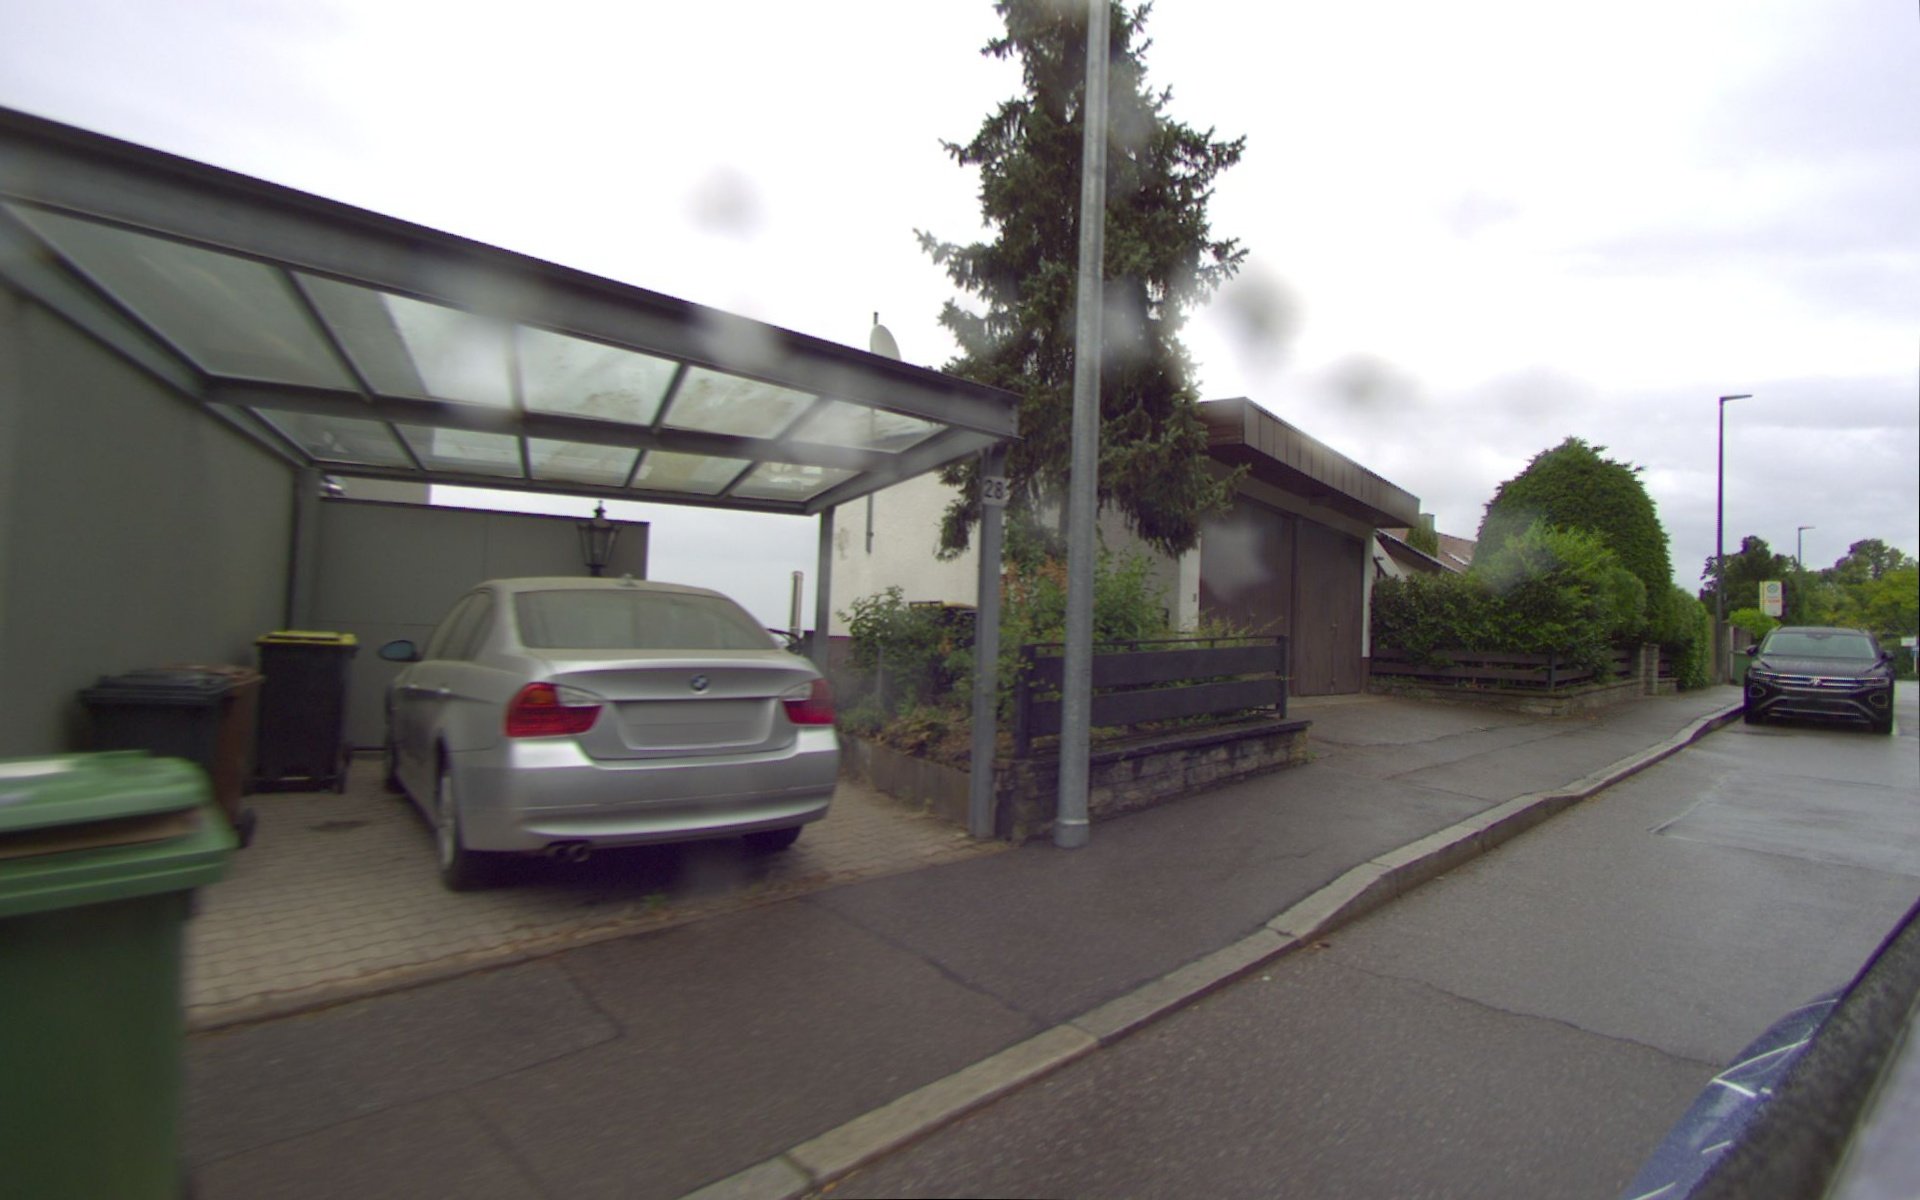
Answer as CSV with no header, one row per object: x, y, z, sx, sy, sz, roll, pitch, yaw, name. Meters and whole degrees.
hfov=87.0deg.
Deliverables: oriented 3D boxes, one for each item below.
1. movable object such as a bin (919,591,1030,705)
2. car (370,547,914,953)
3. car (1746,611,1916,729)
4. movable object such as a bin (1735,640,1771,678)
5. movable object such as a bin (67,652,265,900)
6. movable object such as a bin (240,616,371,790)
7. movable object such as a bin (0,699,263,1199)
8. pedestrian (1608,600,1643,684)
0.141,0.485,9.968,0.792,1.054,0.767,-4,-6,41,movable object such as a bin
-2.176,0.546,5.875,1.904,1.433,4.230,0,-1,-34,car
14.118,1.070,16.387,1.874,1.612,4.409,1,-2,42,car
24.095,1.790,30.756,0.590,1.102,0.739,4,0,-44,movable object such as a bin
-3.677,0.762,4.752,0.492,0.966,0.953,1,1,-24,movable object such as a bin
-4.452,0.672,6.939,0.560,1.071,0.957,4,-1,-25,movable object such as a bin
-1.716,0.806,1.791,0.664,1.109,0.791,0,4,-44,movable object such as a bin
13.356,0.844,20.314,0.535,1.655,0.498,0,-3,41,pedestrian
